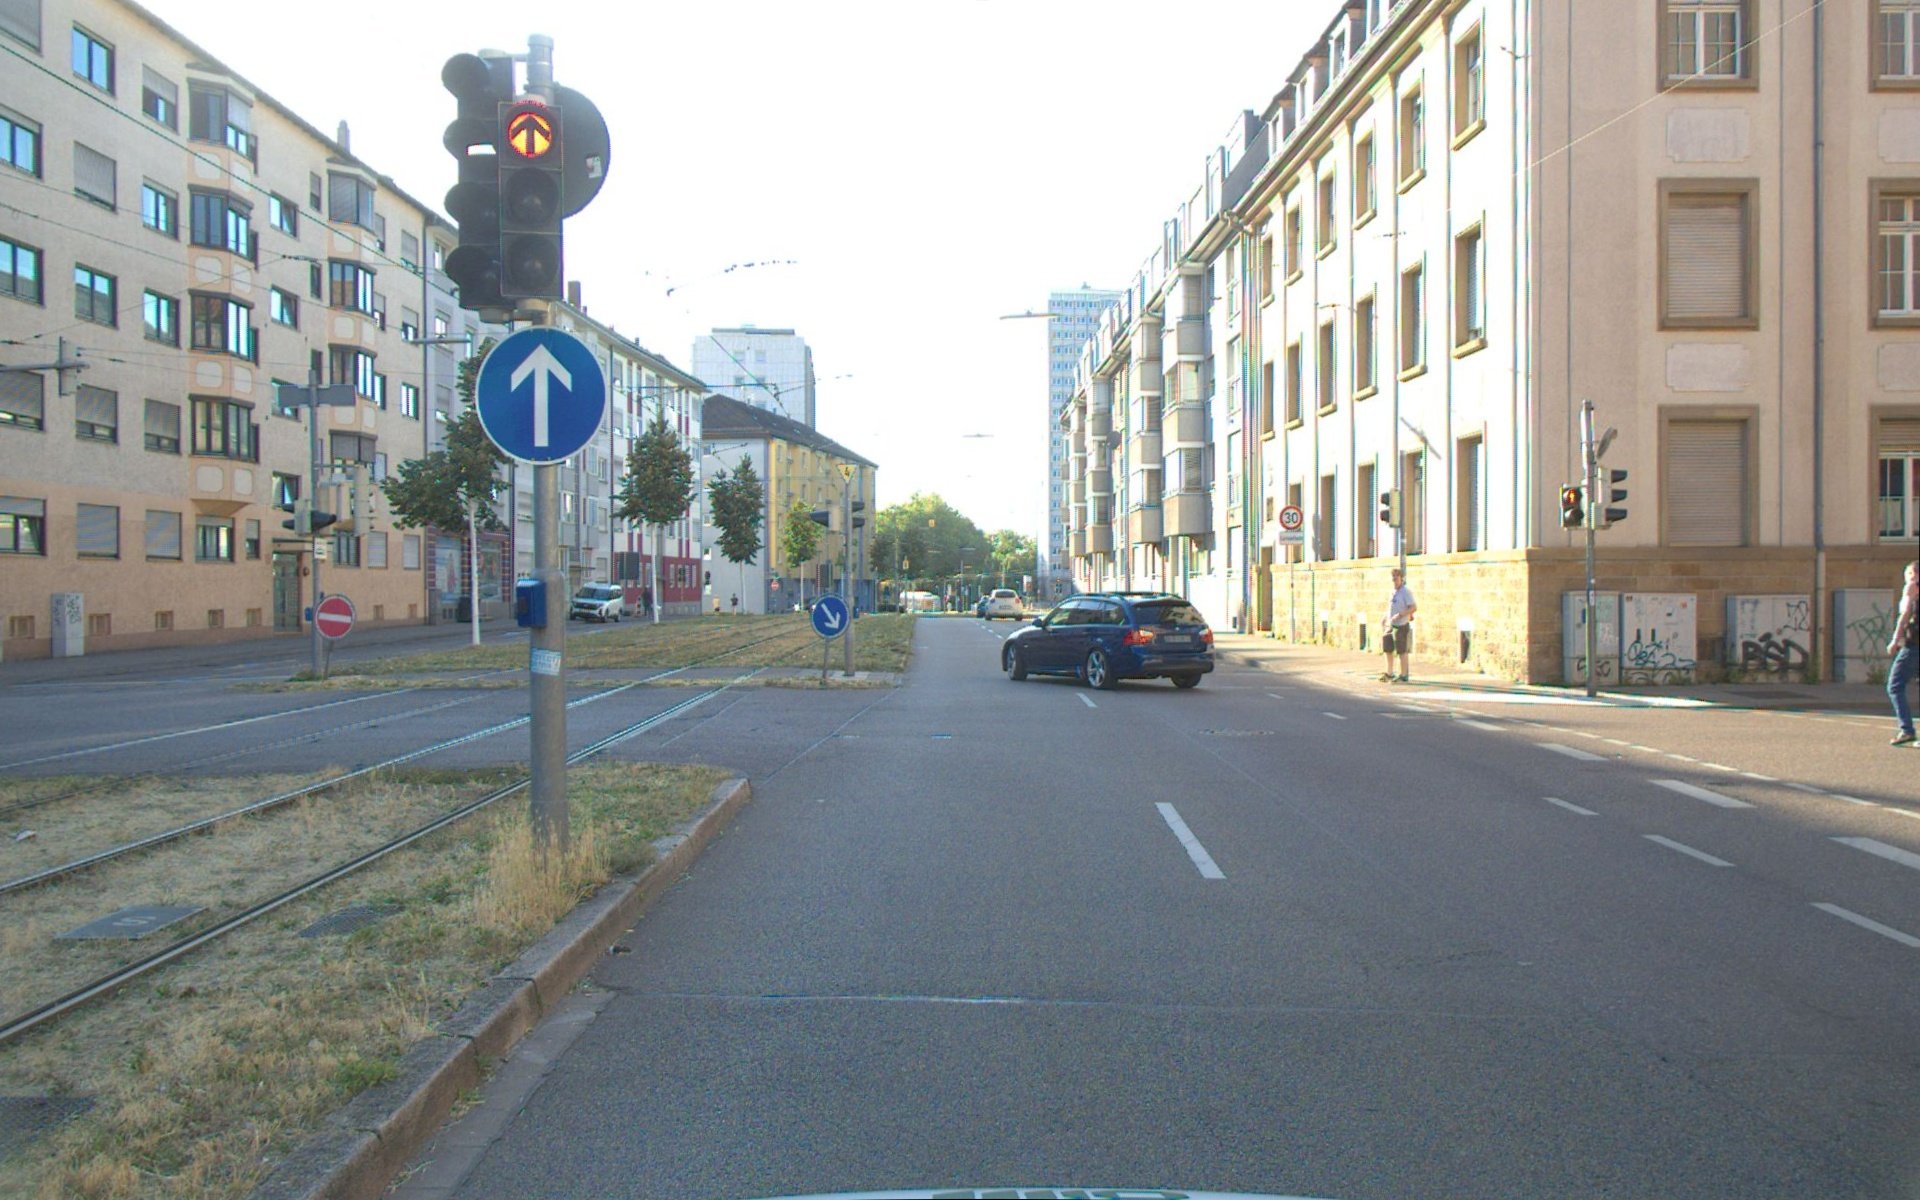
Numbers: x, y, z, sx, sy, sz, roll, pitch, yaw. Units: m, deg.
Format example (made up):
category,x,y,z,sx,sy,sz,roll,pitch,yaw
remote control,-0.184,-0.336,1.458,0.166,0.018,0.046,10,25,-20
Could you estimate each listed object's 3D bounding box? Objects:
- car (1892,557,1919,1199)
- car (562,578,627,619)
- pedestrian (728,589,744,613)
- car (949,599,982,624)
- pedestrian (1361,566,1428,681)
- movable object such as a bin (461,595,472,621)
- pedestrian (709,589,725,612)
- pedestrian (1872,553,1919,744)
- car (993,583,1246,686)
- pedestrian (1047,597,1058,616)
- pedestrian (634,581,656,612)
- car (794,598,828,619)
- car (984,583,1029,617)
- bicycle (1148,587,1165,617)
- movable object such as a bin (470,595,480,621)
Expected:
category,x,y,z,sx,sy,sz,roll,pitch,yaw
car,2.871,0.735,1.447,1.663,1.580,4.225,2,0,-1
car,-17.907,-0.064,81.292,1.952,1.958,4.543,1,0,3
pedestrian,-16.675,0.078,123.061,0.942,1.699,1.011,1,0,4
car,0.347,0.719,108.251,1.953,1.581,4.392,1,0,-2
pedestrian,6.915,0.368,26.338,0.818,1.793,0.824,1,-1,-1
movable object such as a bin,-20.271,0.340,67.970,0.292,1.054,0.441,1,-1,-1
pedestrian,-17.996,0.052,122.332,0.942,1.723,1.011,1,0,4
pedestrian,9.284,0.458,15.848,0.616,1.789,0.825,1,-1,-1
car,2.418,0.500,26.119,1.905,1.481,4.286,1,0,-29
pedestrian,6.206,0.410,110.817,0.676,1.256,0.737,1,0,11
pedestrian,-18.545,-0.202,97.383,1.246,1.791,1.271,1,0,-10
car,-11.958,0.672,133.106,1.857,1.662,4.751,-1,0,6
car,2.209,0.013,79.421,1.953,1.591,3.999,1,0,-1
bicycle,7.369,0.085,62.054,0.376,1.115,1.503,-1,0,-3
movable object such as a bin,-20.082,0.333,68.514,0.292,1.054,0.441,1,-1,-2
